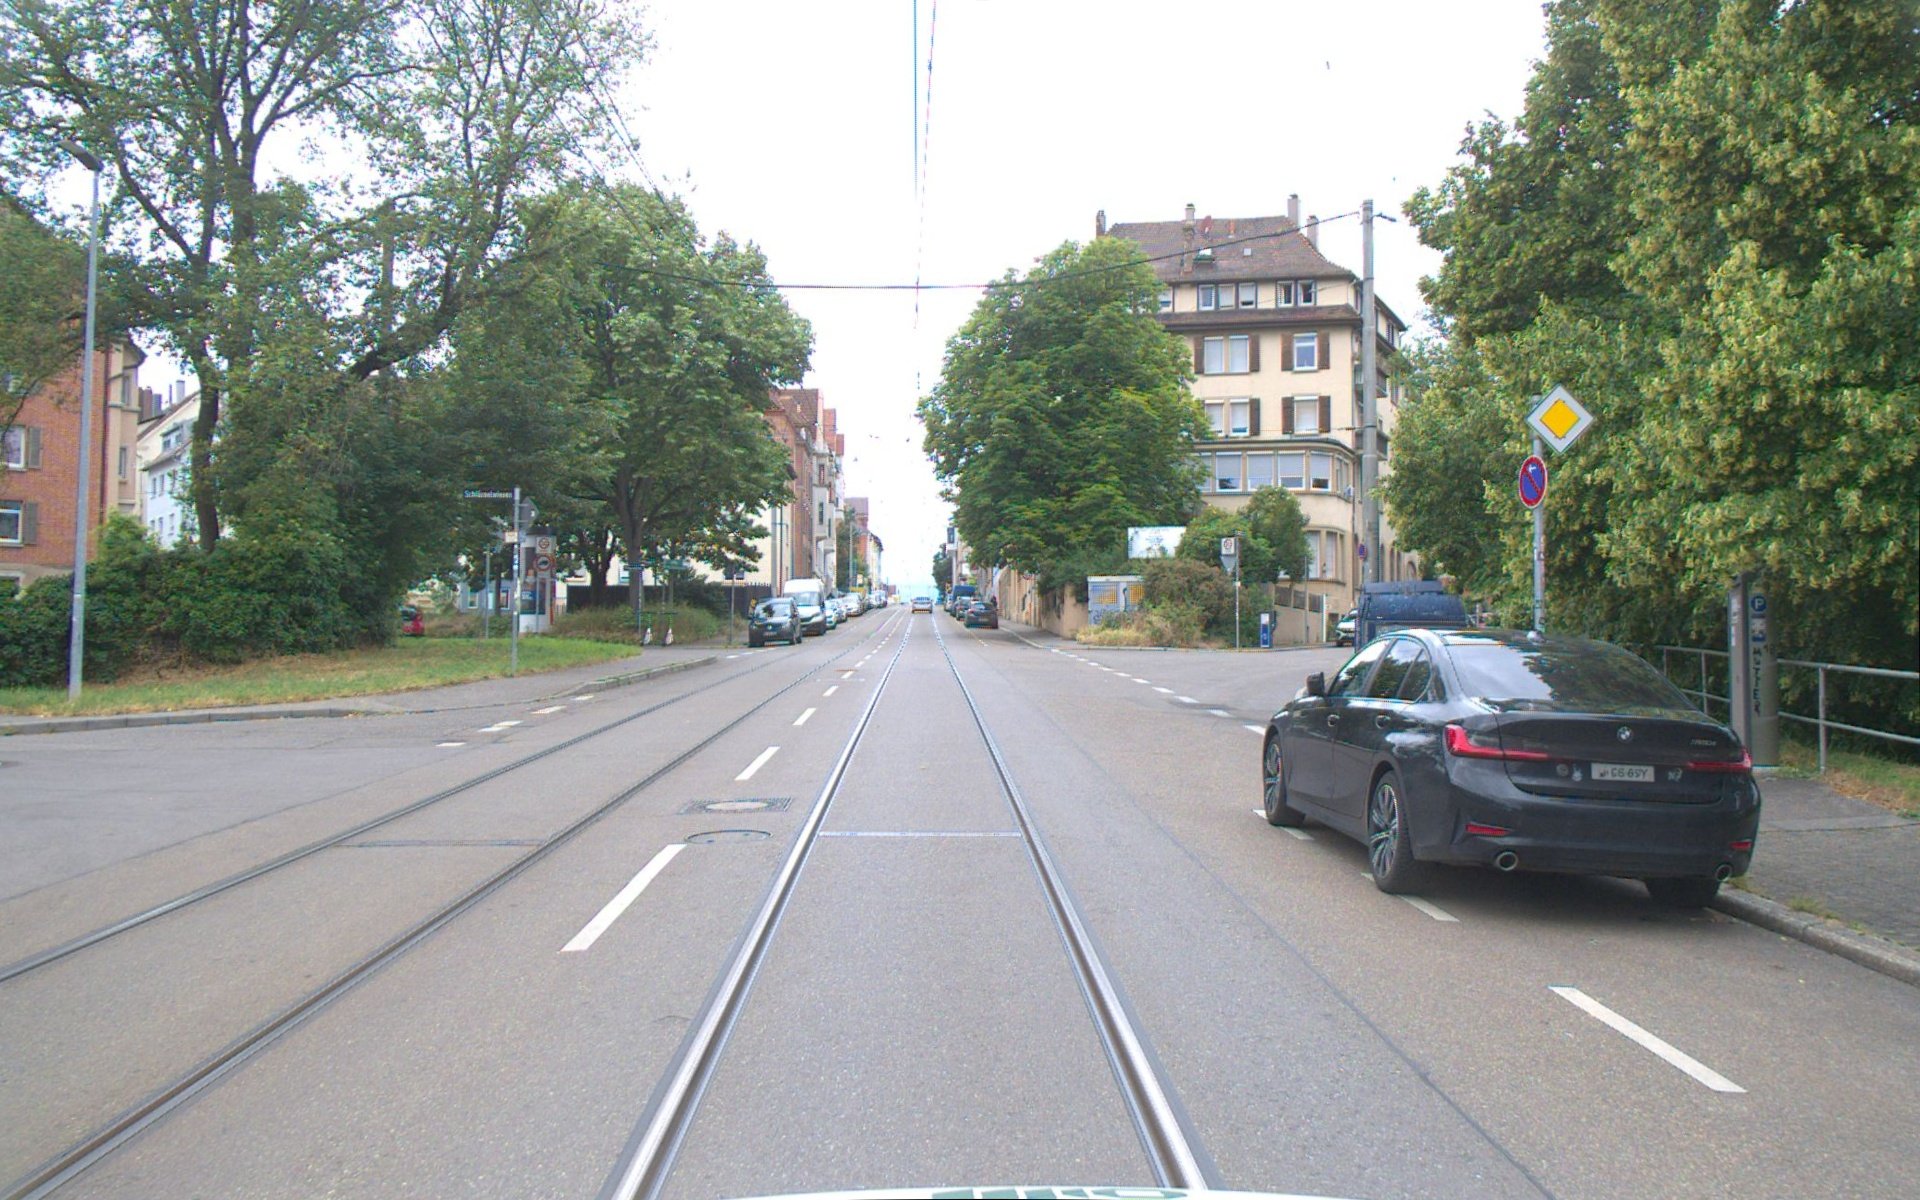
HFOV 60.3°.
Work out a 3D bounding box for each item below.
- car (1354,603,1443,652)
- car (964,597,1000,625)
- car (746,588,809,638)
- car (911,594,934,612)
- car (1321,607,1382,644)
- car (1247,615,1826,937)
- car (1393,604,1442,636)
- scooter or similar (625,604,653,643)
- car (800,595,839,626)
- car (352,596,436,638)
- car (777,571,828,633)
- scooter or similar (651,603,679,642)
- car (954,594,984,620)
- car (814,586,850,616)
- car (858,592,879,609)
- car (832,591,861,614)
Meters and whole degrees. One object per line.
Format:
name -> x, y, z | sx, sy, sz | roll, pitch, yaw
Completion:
car -> 14.549, 0.902, 54.745 | 1.955, 1.505, 4.458 | 0, -1, 27
car -> 1.197, 0.619, 93.280 | 1.953, 1.557, 4.311 | 1, -1, 0
car -> -7.019, 0.516, 64.018 | 1.953, 1.840, 4.000 | 1, -1, 0
car -> -3.240, 0.284, 143.271 | 1.953, 1.525, 4.310 | 1, -1, -2
car -> 17.204, 1.115, 72.578 | 1.953, 1.579, 3.998 | 0, -1, 24
car -> 3.202, 0.870, 10.382 | 1.791, 1.455, 4.846 | 2, 0, -2
car -> 24.027, 1.060, 86.758 | 1.953, 1.646, 3.998 | 0, -1, 24
scooter or similar -> -11.430, 0.830, 58.912 | 0.677, 1.362, 1.638 | 1, -1, 0
car -> -7.510, 0.576, 88.814 | 1.954, 1.628, 4.309 | 1, -1, -3
car -> -22.680, 0.673, 66.201 | 1.980, 1.624, 3.945 | 1, -1, -38
car -> -7.426, 0.136, 78.502 | 2.186, 2.813, 5.795 | 1, -1, -3
scooter or similar -> -10.495, 0.803, 58.919 | 0.677, 1.362, 1.638 | 1, -1, 0
car -> 0.586, 0.473, 113.741 | 1.953, 1.747, 3.999 | 0, -1, -1
car -> -8.136, 0.099, 105.681 | 1.953, 1.843, 4.312 | 1, -1, 0
car -> -8.936, 0.027, 161.834 | 1.953, 1.629, 3.998 | 1, -1, -2
car -> -8.376, 0.214, 122.317 | 1.885, 1.629, 3.999 | 1, -1, -1
